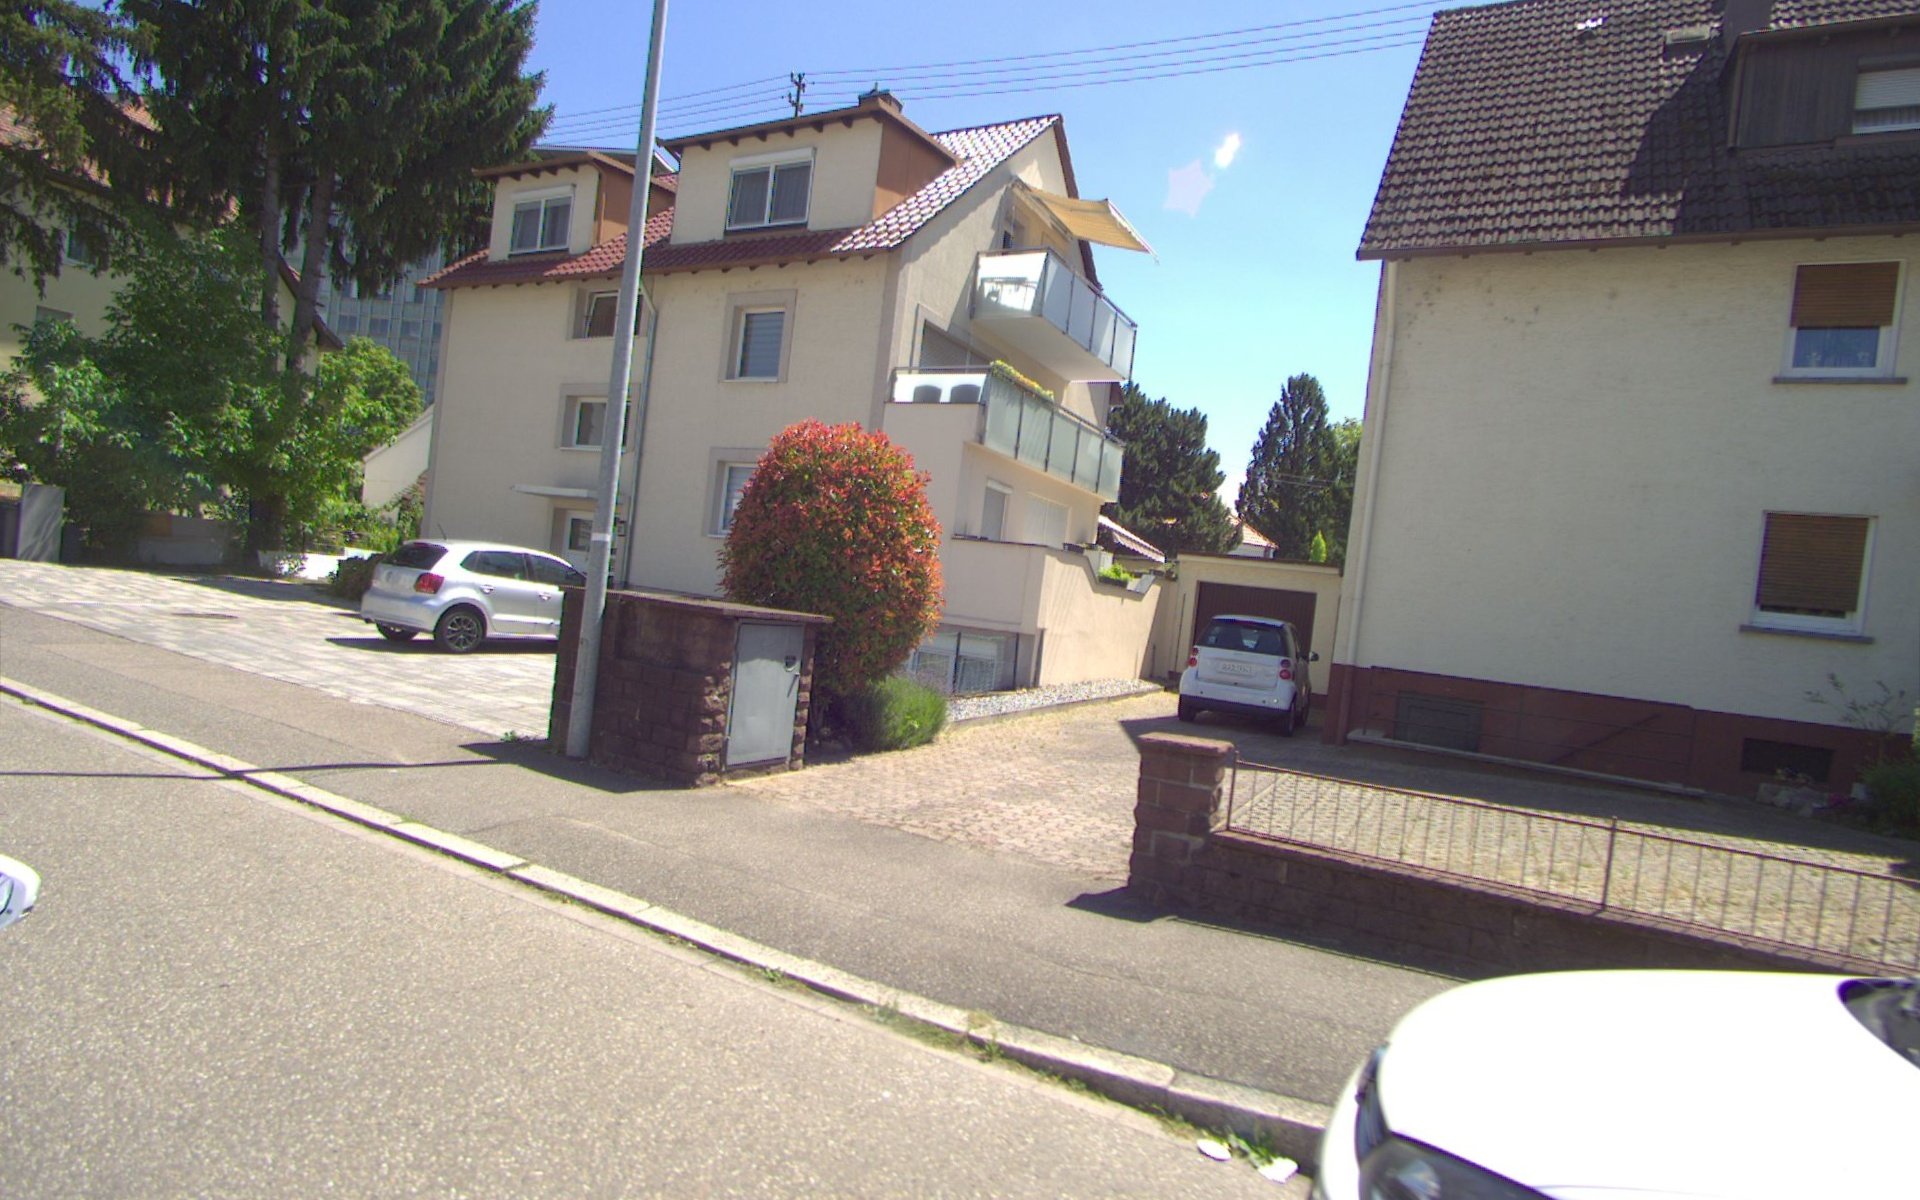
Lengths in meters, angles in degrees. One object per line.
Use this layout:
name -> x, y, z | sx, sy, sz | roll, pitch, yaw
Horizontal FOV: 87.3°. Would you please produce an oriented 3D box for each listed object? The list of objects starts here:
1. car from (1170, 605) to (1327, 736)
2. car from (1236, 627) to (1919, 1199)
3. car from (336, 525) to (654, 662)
car -> 4.390, 0.968, 15.012 | 1.542, 1.573, 3.152 | 7, 2, 27
car -> 2.417, 1.039, 1.350 | 3.675, 1.472, 1.688 | 7, -1, 29
car -> -6.416, -0.026, 14.229 | 1.749, 1.549, 3.621 | 5, -1, 33
